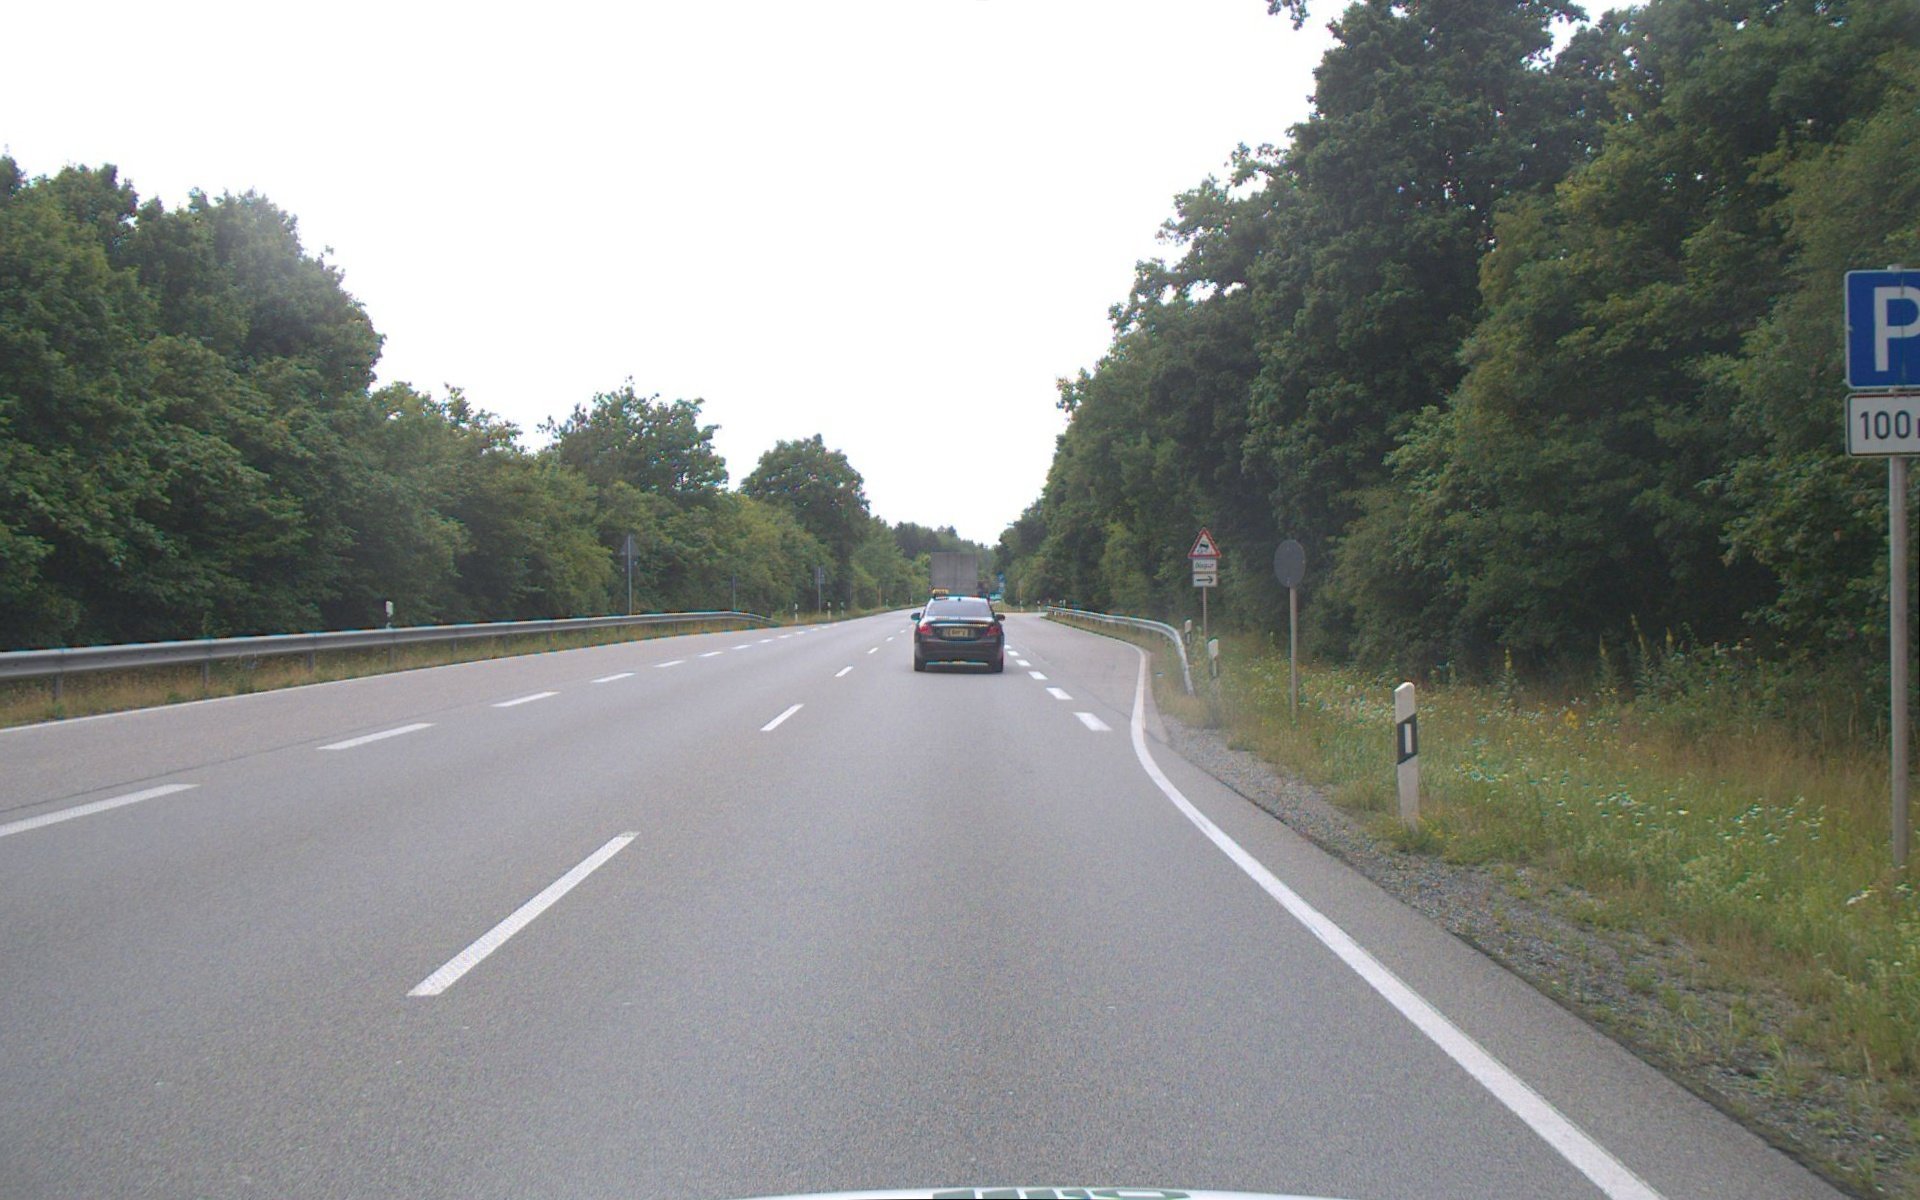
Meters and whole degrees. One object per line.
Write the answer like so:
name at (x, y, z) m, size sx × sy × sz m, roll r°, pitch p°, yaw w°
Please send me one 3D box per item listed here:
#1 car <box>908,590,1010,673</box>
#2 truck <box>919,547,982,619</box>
car at (-0.080, 0.599, 33.939) m, size 1.756 × 1.579 × 3.996 m, roll 1°, pitch 0°, yaw -5°
truck at (-0.593, -0.901, 92.058) m, size 3.214 × 3.675 × 11.397 m, roll 1°, pitch 0°, yaw -1°
